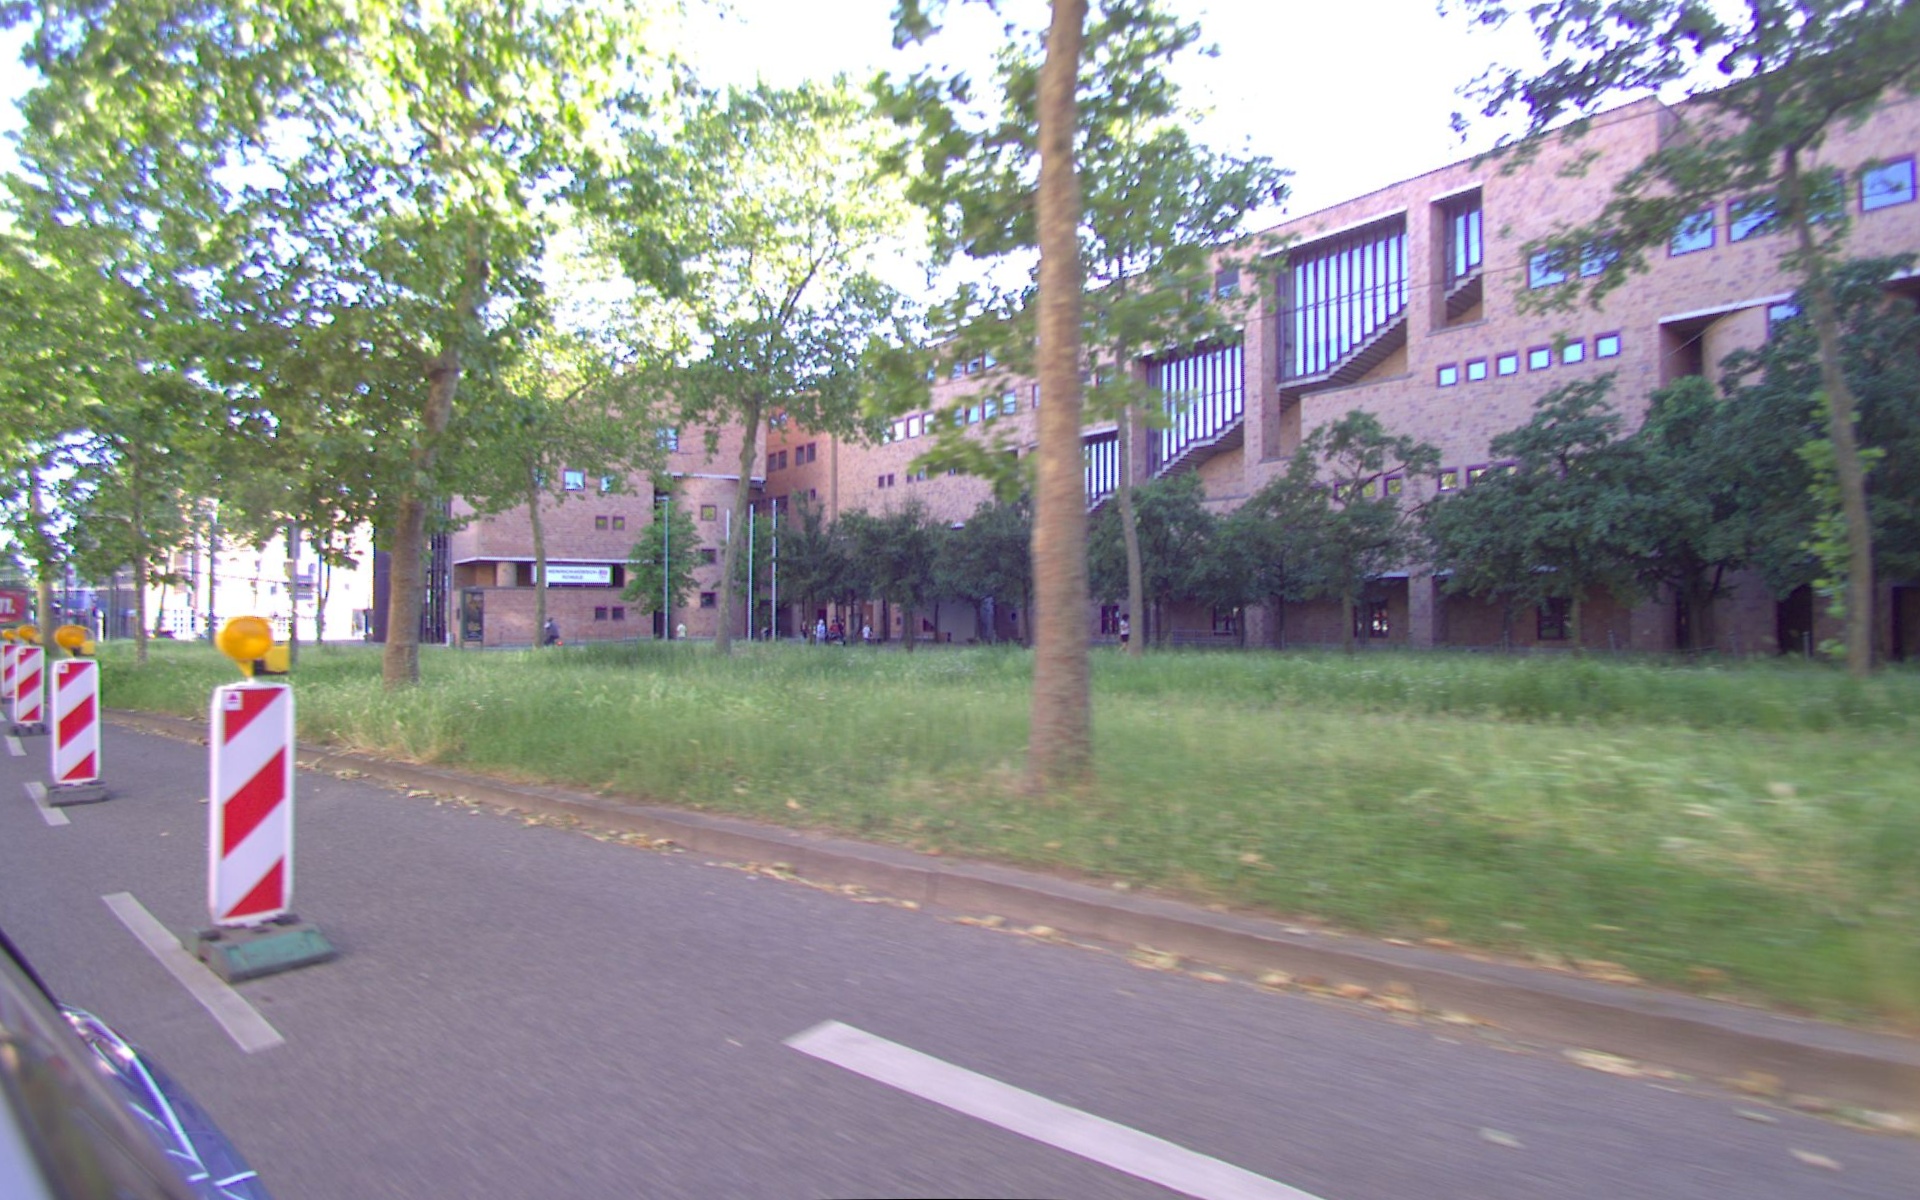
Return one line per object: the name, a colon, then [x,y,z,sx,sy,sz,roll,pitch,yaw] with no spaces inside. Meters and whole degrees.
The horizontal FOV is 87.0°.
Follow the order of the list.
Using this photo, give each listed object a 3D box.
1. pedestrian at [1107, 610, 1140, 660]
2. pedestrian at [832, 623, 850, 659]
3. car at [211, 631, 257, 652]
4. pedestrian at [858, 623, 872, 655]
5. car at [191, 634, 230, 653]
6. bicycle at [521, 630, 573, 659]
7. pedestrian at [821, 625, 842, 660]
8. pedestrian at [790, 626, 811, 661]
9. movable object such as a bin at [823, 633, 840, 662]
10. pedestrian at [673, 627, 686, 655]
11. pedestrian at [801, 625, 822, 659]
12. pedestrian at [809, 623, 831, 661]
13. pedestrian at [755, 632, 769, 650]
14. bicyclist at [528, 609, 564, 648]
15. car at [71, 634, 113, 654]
pedestrian: [6.070,1.294,37.556,0.900,1.845,0.815,-2,-2,41]
pedestrian: [-5.655,1.965,48.248,0.595,1.692,0.605,-2,-2,39]
car: [-52.830,2.997,73.613,4.145,1.440,1.654,-2,-2,39]
pedestrian: [-4.519,1.864,48.313,0.463,1.517,0.478,-2,-2,40]
car: [-57.548,3.348,77.678,3.218,1.440,1.597,-2,-2,39]
bicycle: [-16.910,1.793,41.441,2.434,1.134,0.946,-1,-2,40]
pedestrian: [-6.063,1.999,47.756,0.756,1.629,0.657,-2,-2,39]
pedestrian: [-7.610,2.084,48.369,0.756,1.629,0.657,-2,-2,39]
movable object such as a bin: [-5.913,2.185,46.563,0.756,1.289,0.352,-2,-2,39]
pedestrian: [-15.274,2.231,55.147,0.653,1.555,0.412,-2,-2,44]
pedestrian: [-7.183,2.042,48.974,0.756,1.629,0.656,-2,-2,42]
pedestrian: [-6.527,1.937,47.049,0.796,1.735,0.657,-2,-2,39]
pedestrian: [-13.338,2.767,68.232,0.628,1.207,0.659,-1,-2,30]
bicyclist: [-16.998,1.184,41.540,1.208,1.583,0.931,-2,-2,40]
car: [-64.562,3.264,75.264,4.145,1.440,1.597,-1,-2,39]
